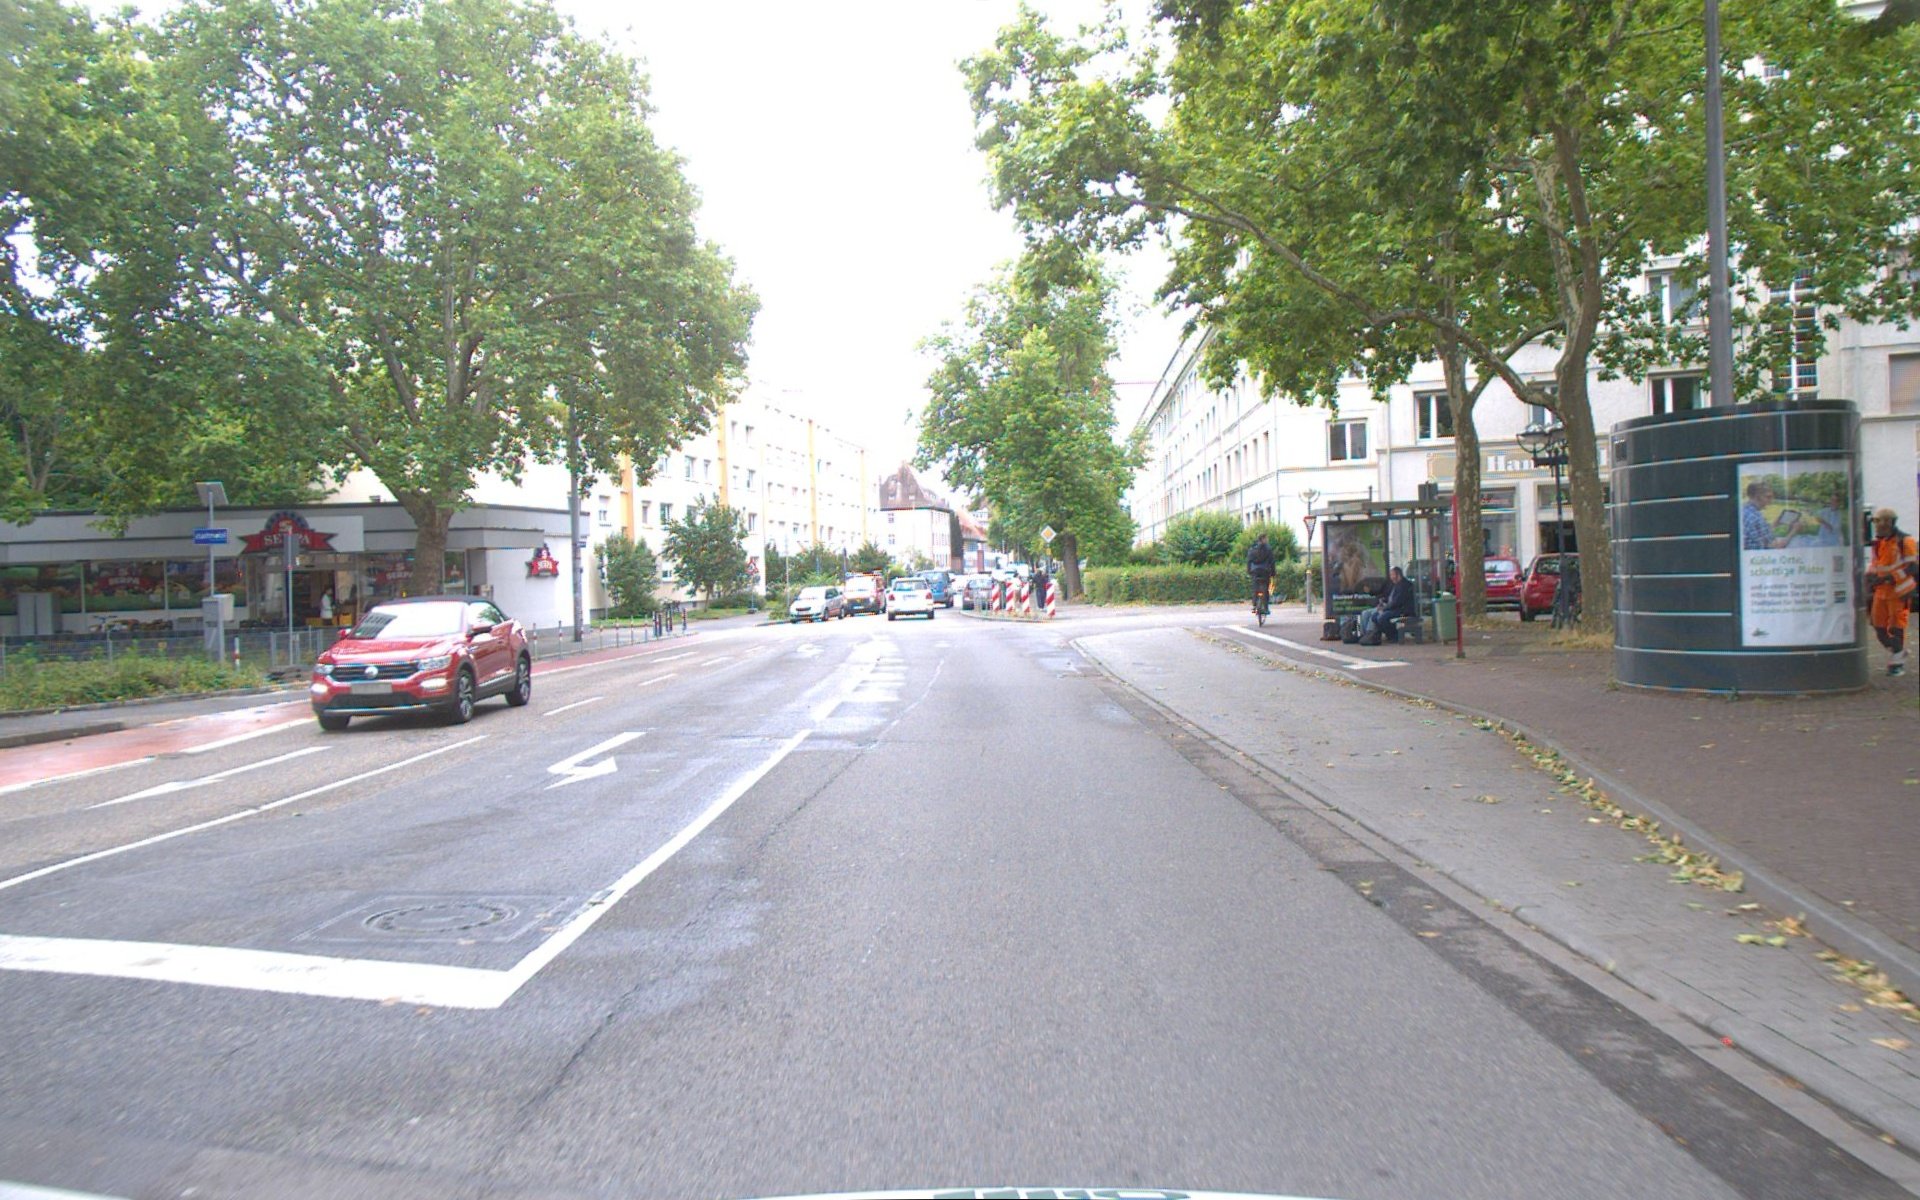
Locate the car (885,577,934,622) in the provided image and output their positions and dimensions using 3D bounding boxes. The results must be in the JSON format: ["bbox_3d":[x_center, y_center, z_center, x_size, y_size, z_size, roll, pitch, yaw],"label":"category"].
[{"bbox_3d":[-1.976,-0.042,65.615,1.778,1.619,4.000,-2,1,0],"label":"car"}]

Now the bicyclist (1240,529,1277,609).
[{"bbox_3d":[6.883,-0.715,38.203,0.744,1.789,0.821,-2,1,7],"label":"bicyclist"}]

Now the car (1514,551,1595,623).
[{"bbox_3d":[13.123,-0.322,36.672,1.483,1.453,4.003,-2,1,18],"label":"car"}]

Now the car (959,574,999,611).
[{"bbox_3d":[0.859,-0.368,77.733,1.778,1.619,4.000,-2,1,0],"label":"car"}]

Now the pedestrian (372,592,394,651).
[{"bbox_3d":[-17.086,0.633,48.988,0.507,1.709,0.508,-2,1,-18],"label":"pedestrian"}]

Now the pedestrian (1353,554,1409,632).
[{"bbox_3d":[7.815,-0.129,30.697,0.801,1.396,0.762,-2,1,0],"label":"pedestrian"}]

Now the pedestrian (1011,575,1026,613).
[{"bbox_3d":[2.351,-0.254,66.561,0.505,1.521,0.511,-2,1,-2],"label":"pedestrian"}]

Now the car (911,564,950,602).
[{"bbox_3d":[-1.557,-0.907,87.133,1.953,1.880,3.999,-2,1,-1],"label":"car"}]

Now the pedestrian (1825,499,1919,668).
[{"bbox_3d":[10.095,-0.190,18.053,0.768,1.774,0.925,-2,1,-1],"label":"pedestrian"}]

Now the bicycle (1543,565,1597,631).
[{"bbox_3d":[11.841,-0.063,32.065,0.762,1.188,2.332,-2,1,25],"label":"bicycle"}]

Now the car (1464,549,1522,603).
[{"bbox_3d":[15.406,-0.719,47.860,1.483,1.453,4.003,-2,1,18],"label":"car"}]

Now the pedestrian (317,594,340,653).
[{"bbox_3d":[-18.533,0.687,48.537,0.501,1.709,0.515,-2,1,-16],"label":"pedestrian"}]

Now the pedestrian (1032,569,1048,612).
[{"bbox_3d":[3.215,-0.385,66.408,0.539,1.714,0.570,-2,1,-2],"label":"pedestrian"}]

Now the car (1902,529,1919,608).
[{"bbox_3d":[20.411,-0.704,33.726,1.760,1.570,3.825,-2,1,25],"label":"car"}]

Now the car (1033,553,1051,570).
[{"bbox_3d":[10.300,-4.858,207.487,1.953,2.049,3.999,-2,1,-1],"label":"car"}]

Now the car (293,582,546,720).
[{"bbox_3d":[-6.789,0.570,21.263,1.815,1.478,4.168,-2,1,0],"label":"car"}]

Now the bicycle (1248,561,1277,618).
[{"bbox_3d":[6.977,-0.247,38.157,0.408,1.264,1.928,-2,1,4],"label":"bicycle"}]

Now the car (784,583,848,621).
[{"bbox_3d":[-6.310,0.065,73.036,1.730,1.512,4.004,-2,1,11],"label":"car"}]

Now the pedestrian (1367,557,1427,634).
[{"bbox_3d":[7.857,-0.088,29.764,0.835,1.337,0.762,-2,1,0],"label":"pedestrian"}]

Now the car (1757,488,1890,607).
[{"bbox_3d":[17.821,-1.074,34.307,2.130,2.239,3.999,-2,1,24],"label":"car"}]

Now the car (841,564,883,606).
[{"bbox_3d":[-4.804,-0.742,81.418,1.731,1.945,4.001,-2,1,1],"label":"car"}]
